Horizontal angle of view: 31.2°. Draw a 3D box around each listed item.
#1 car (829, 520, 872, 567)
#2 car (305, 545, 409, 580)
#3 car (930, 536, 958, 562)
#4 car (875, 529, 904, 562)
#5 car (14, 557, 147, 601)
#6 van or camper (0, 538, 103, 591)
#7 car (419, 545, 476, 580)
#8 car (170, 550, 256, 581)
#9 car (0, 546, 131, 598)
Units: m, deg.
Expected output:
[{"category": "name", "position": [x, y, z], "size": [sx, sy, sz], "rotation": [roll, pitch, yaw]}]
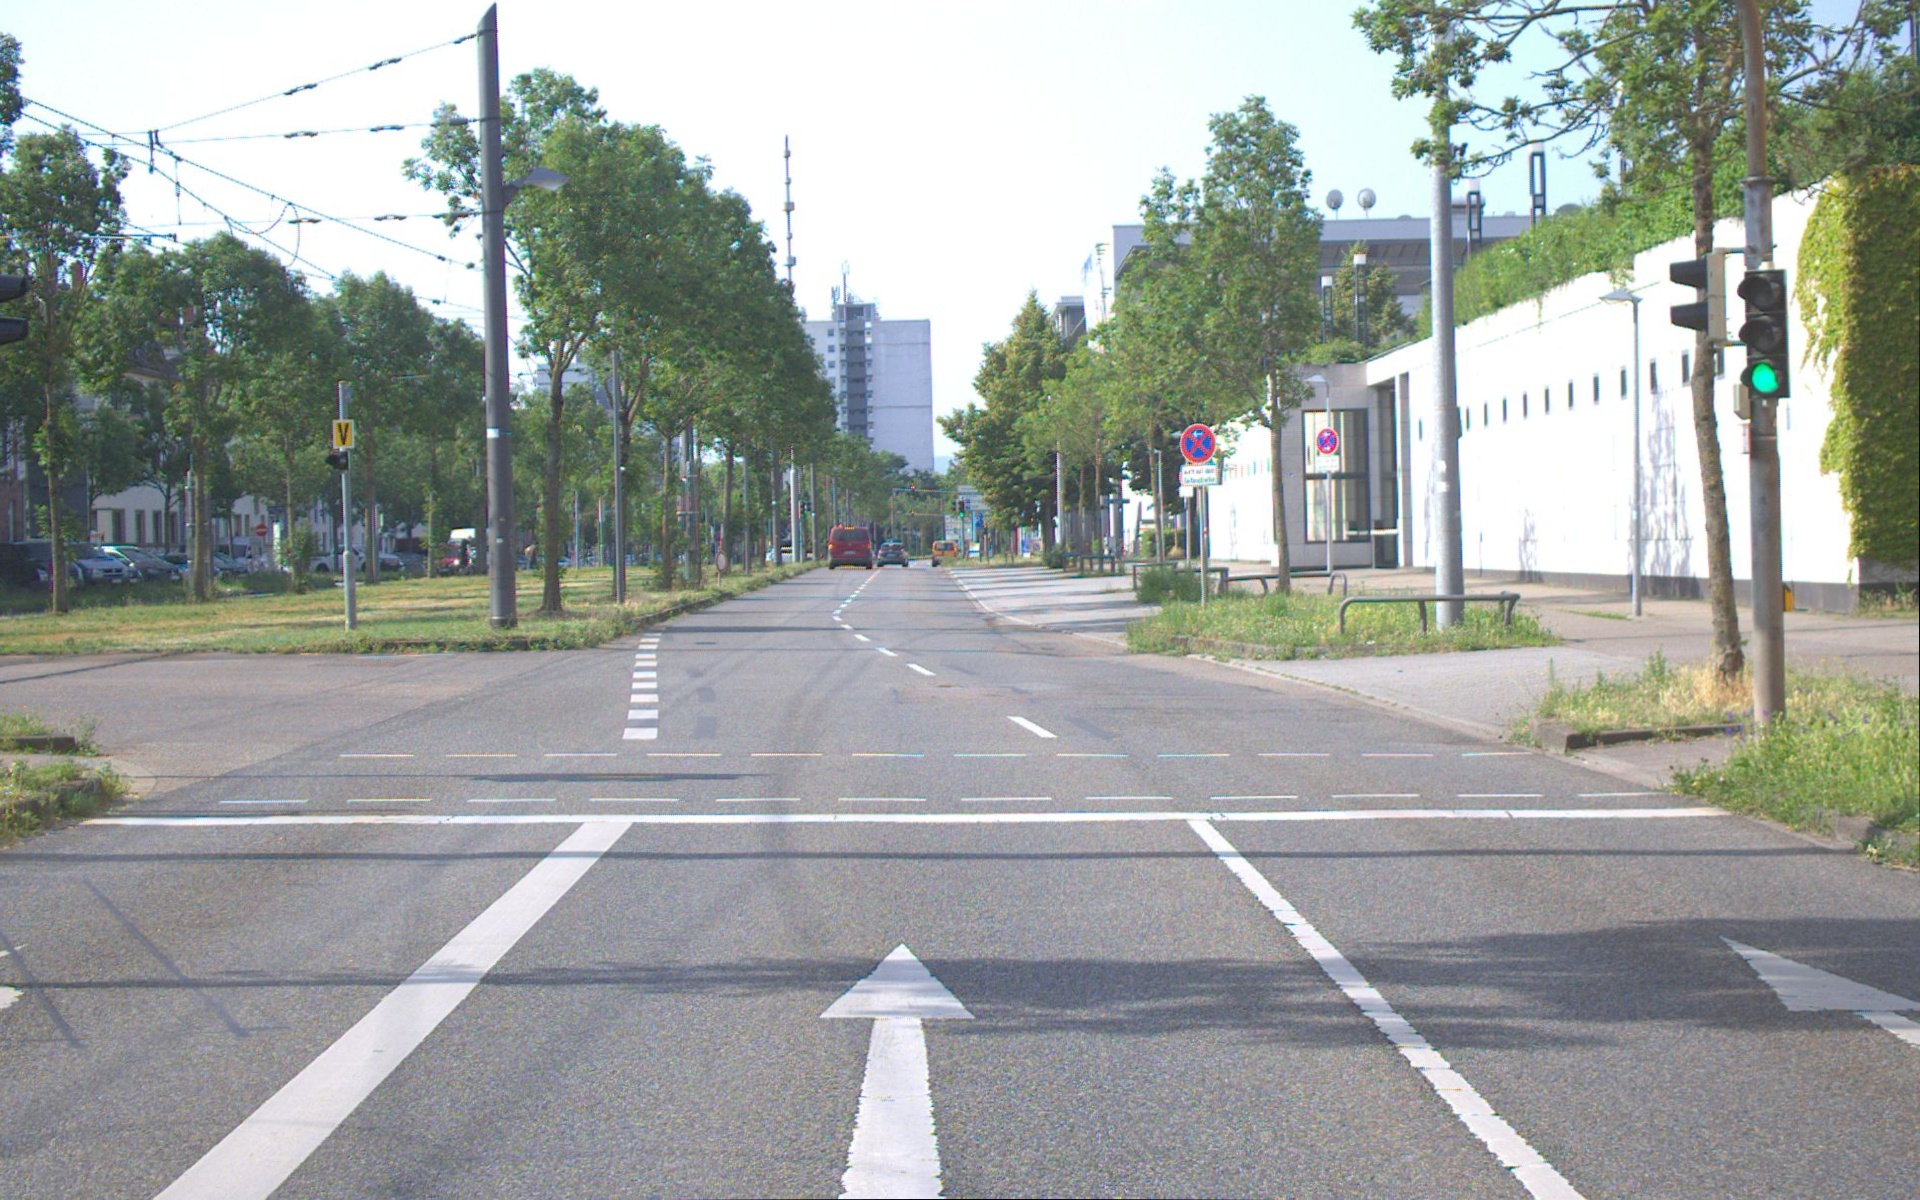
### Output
[{"category": "car", "position": [-4.806, -2.473, 151.596], "size": [1.748, 2.007, 3.216], "rotation": [1, 0, 0]}, {"category": "car", "position": [-30.832, -1.922, 175.708], "size": [5.320, 1.732, 1.996], "rotation": [1, 0, 33]}, {"category": "car", "position": [-1.043, -3.331, 225.233], "size": [1.748, 1.645, 3.216], "rotation": [1, 0, 0]}, {"category": "car", "position": [-4.512, -3.480, 219.744], "size": [1.748, 2.007, 3.216], "rotation": [1, 0, 0]}, {"category": "car", "position": [-29.866, -0.724, 116.718], "size": [4.471, 1.414, 1.971], "rotation": [1, 1, 37]}, {"category": "van or camper", "position": [-30.163, -1.159, 111.057], "size": [4.843, 1.618, 1.999], "rotation": [1, 0, 32]}, {"category": "car", "position": [-25.338, -1.855, 170.134], "size": [1.965, 1.688, 4.297], "rotation": [1, 0, 3]}, {"category": "car", "position": [-29.620, -1.375, 136.294], "size": [3.160, 1.157, 1.494], "rotation": [1, 0, 32]}, {"category": "car", "position": [-30.073, -0.946, 113.588], "size": [5.214, 1.618, 2.053], "rotation": [1, 0, 30]}]
